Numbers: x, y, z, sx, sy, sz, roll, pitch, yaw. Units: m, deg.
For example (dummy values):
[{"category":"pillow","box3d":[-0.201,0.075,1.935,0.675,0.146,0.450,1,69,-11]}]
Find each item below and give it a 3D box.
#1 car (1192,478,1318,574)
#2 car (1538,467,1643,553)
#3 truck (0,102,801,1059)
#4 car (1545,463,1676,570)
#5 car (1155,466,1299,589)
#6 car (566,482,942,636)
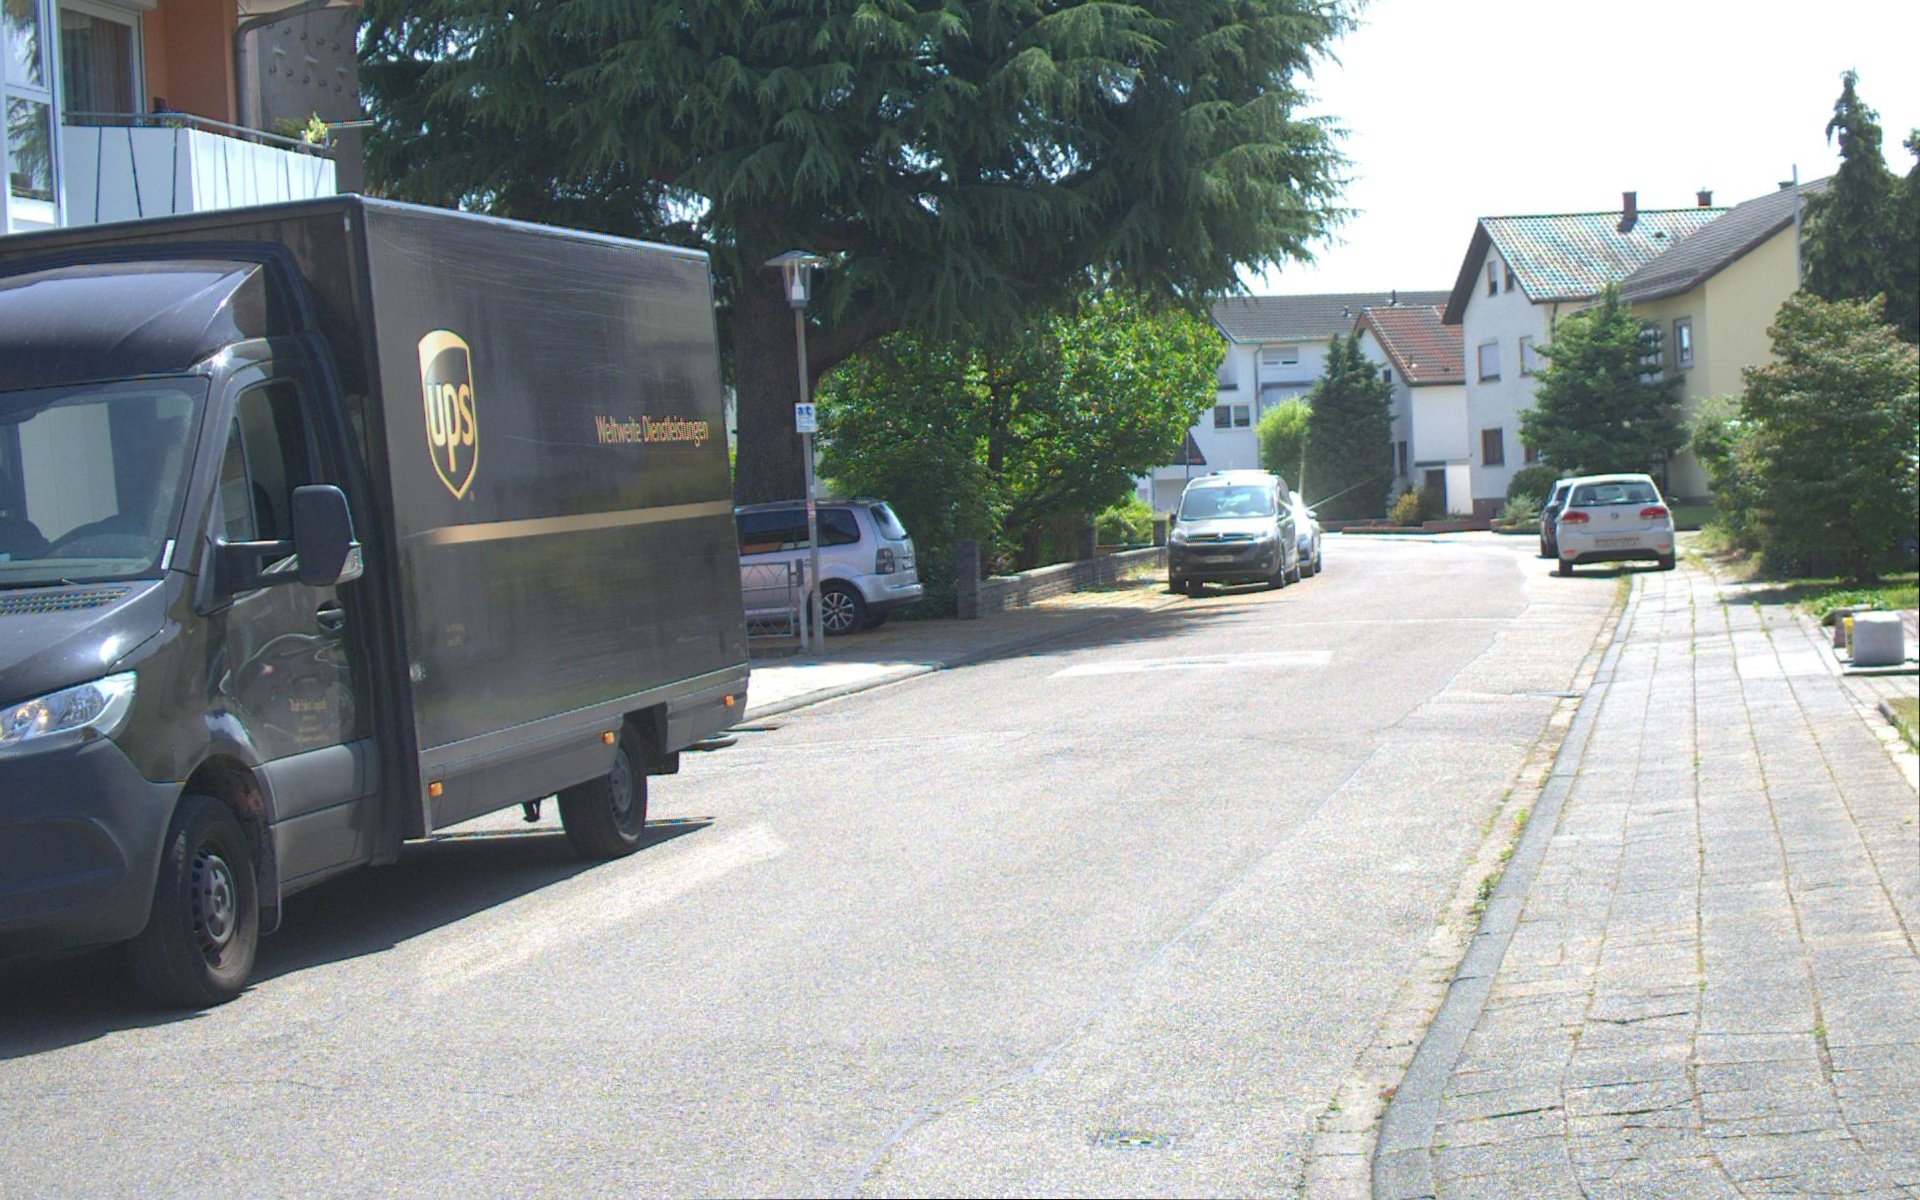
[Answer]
[{"category":"car","box3d":[5.127,-1.295,59.310,1.809,1.489,3.999,-3,2,9]},{"category":"car","box3d":[11.966,-1.728,65.420,1.809,1.489,3.999,-3,2,9]},{"category":"truck","box3d":[-2.939,-0.108,13.851,2.435,2.778,7.295,-5,1,13]},{"category":"car","box3d":[9.940,-1.315,52.759,1.809,1.489,3.999,-3,2,9]},{"category":"car","box3d":[4.196,-1.165,53.513,1.809,1.756,4.205,-3,2,9]},{"category":"car","box3d":[-2.523,-0.512,42.365,4.195,1.647,1.813,-3,2,15]}]
